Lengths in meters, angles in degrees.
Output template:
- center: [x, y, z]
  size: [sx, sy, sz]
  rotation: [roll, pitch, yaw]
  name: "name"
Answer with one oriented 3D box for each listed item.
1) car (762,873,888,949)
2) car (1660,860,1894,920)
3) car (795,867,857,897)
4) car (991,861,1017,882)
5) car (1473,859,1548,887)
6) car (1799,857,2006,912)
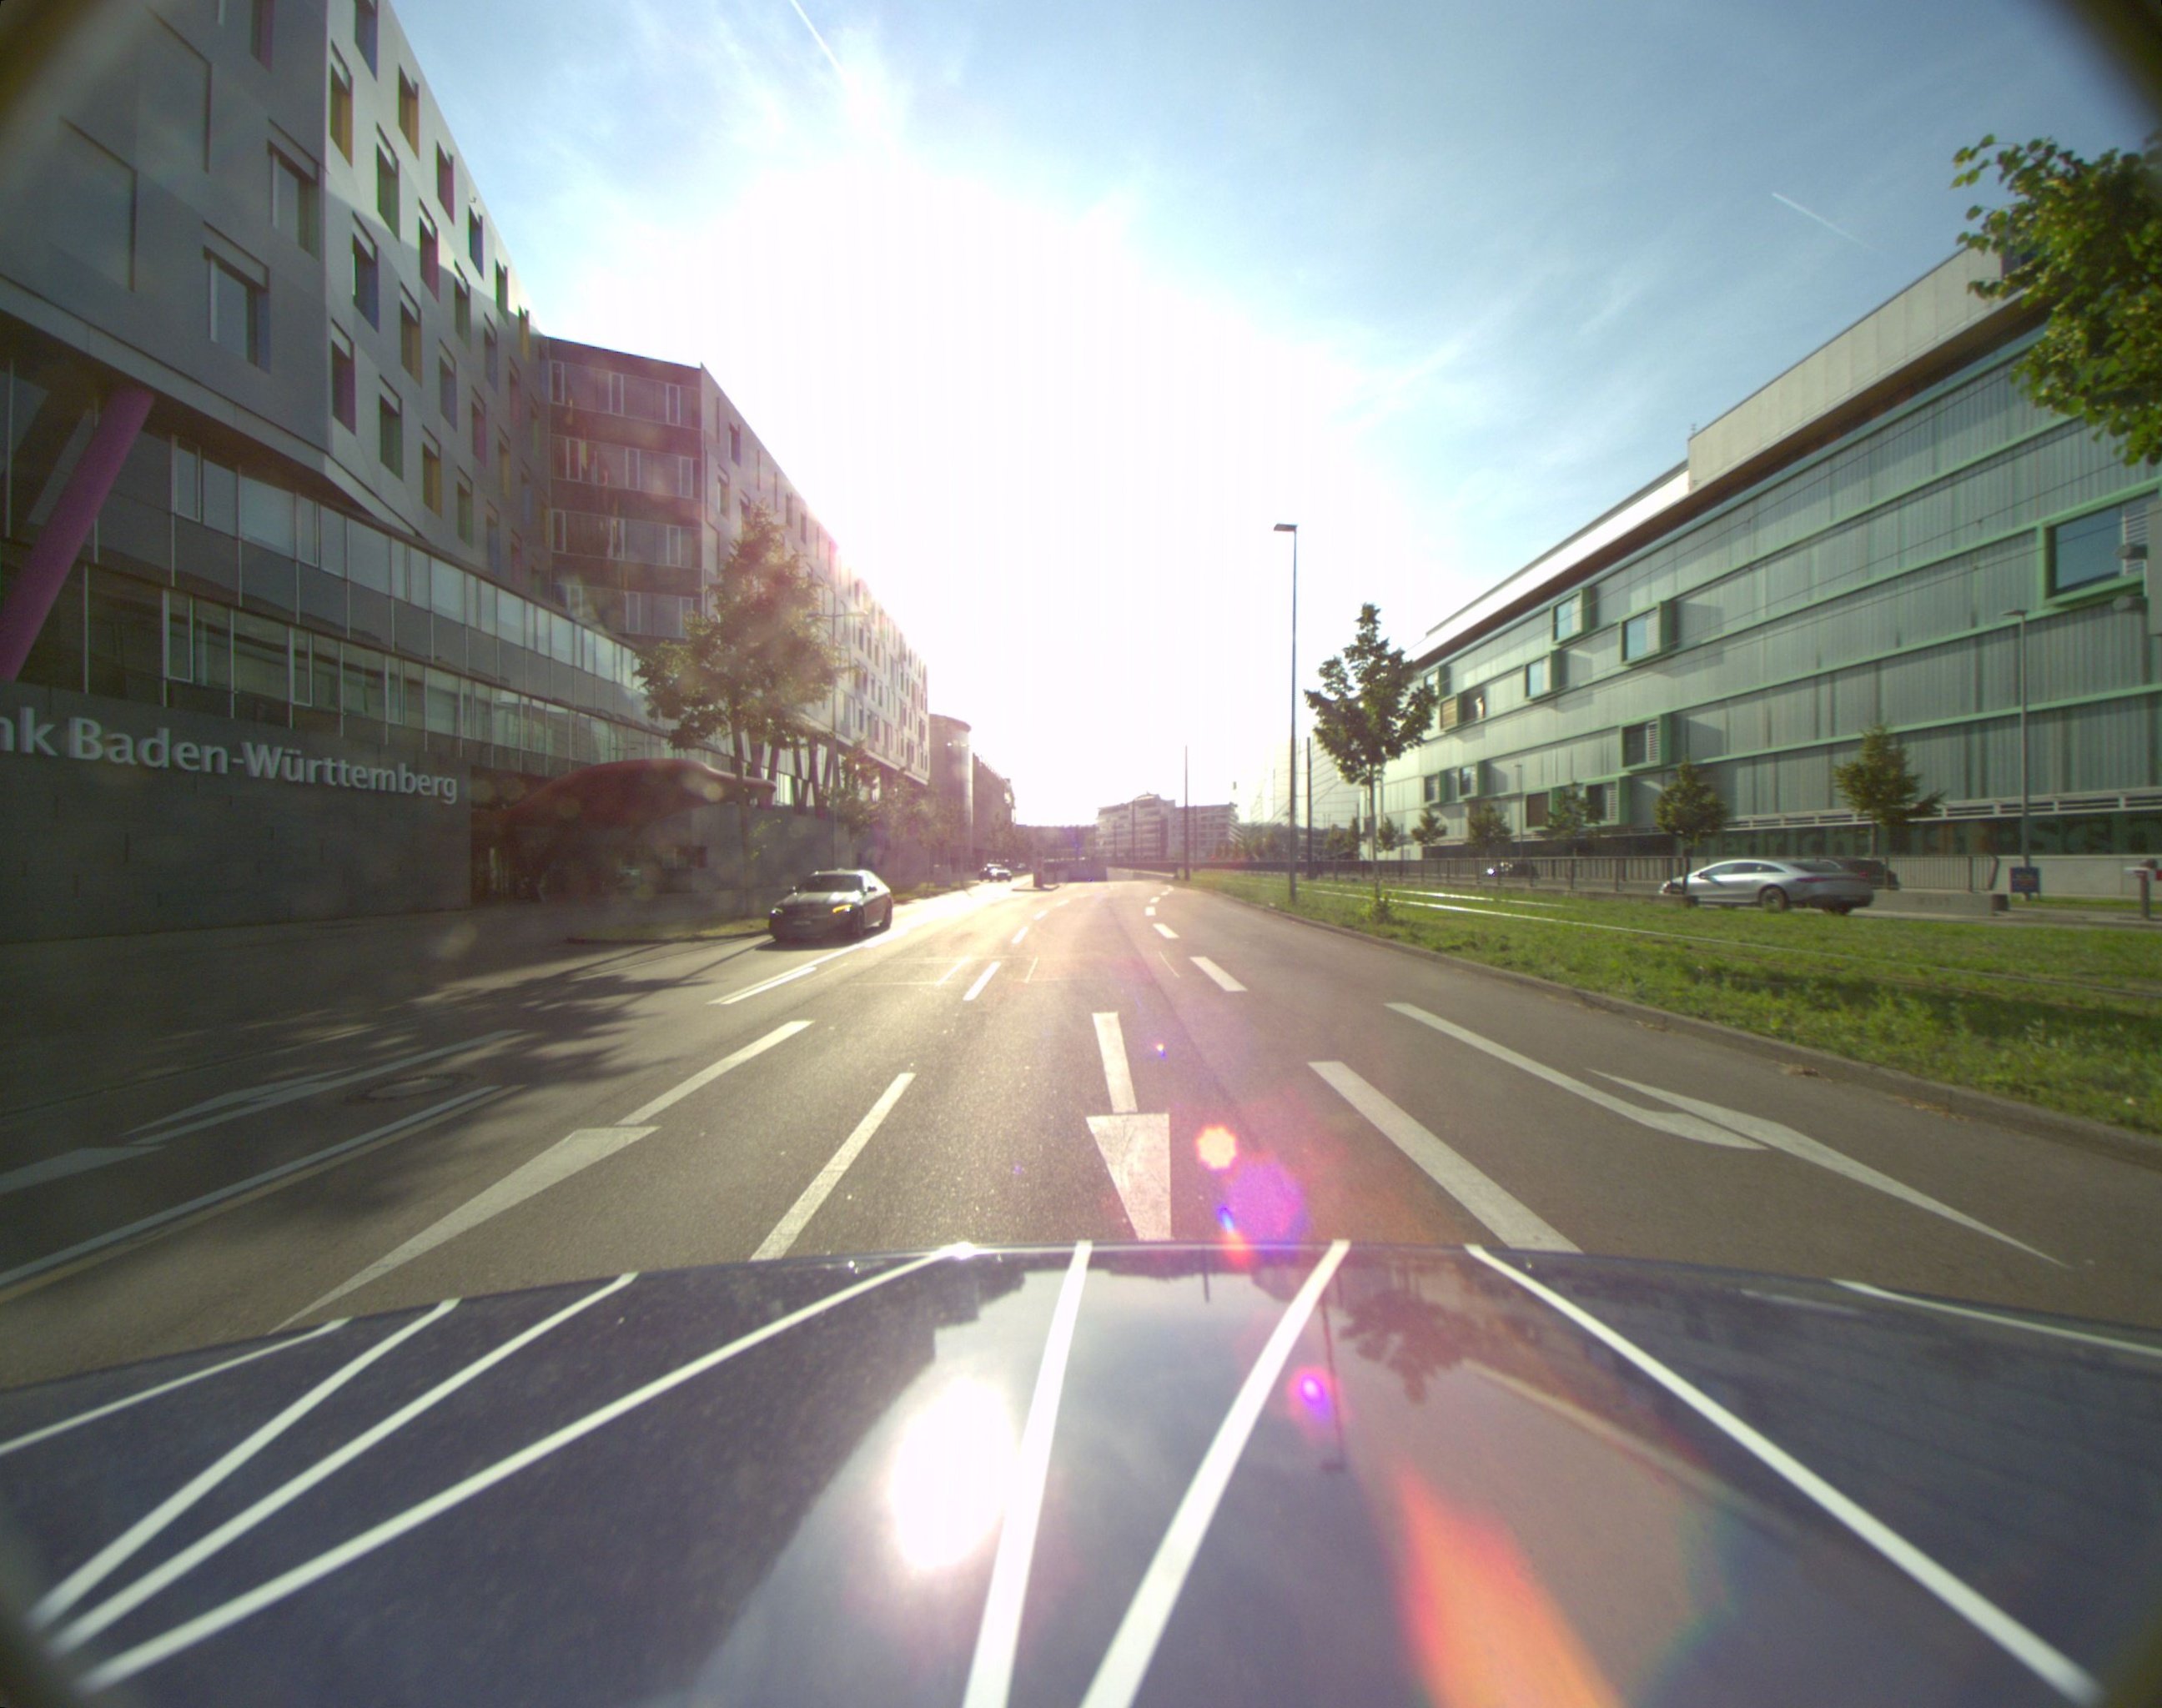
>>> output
- center: [-5.709, 1.193, 17.532]
  size: [1.845, 1.441, 4.553]
  rotation: [-1, -1, -7]
  name: "car"
- center: [19.442, 0.935, 21.625]
  size: [1.999, 1.519, 4.911]
  rotation: [0, -1, -4]
  name: "car"
- center: [-12.360, 1.338, 37.129]
  size: [1.696, 1.381, 4.199]
  rotation: [0, -1, -1]
  name: "car"
- center: [-6.614, 1.486, 64.850]
  size: [1.896, 1.419, 4.467]
  rotation: [-1, 3, -9]
  name: "car"
- center: [26.730, 1.160, 47.479]
  size: [1.999, 1.677, 4.726]
  rotation: [0, -1, 0]
  name: "car"
- center: [27.481, 0.976, 25.711]
  size: [1.999, 1.677, 4.616]
  rotation: [0, -1, 0]
  name: "car"
